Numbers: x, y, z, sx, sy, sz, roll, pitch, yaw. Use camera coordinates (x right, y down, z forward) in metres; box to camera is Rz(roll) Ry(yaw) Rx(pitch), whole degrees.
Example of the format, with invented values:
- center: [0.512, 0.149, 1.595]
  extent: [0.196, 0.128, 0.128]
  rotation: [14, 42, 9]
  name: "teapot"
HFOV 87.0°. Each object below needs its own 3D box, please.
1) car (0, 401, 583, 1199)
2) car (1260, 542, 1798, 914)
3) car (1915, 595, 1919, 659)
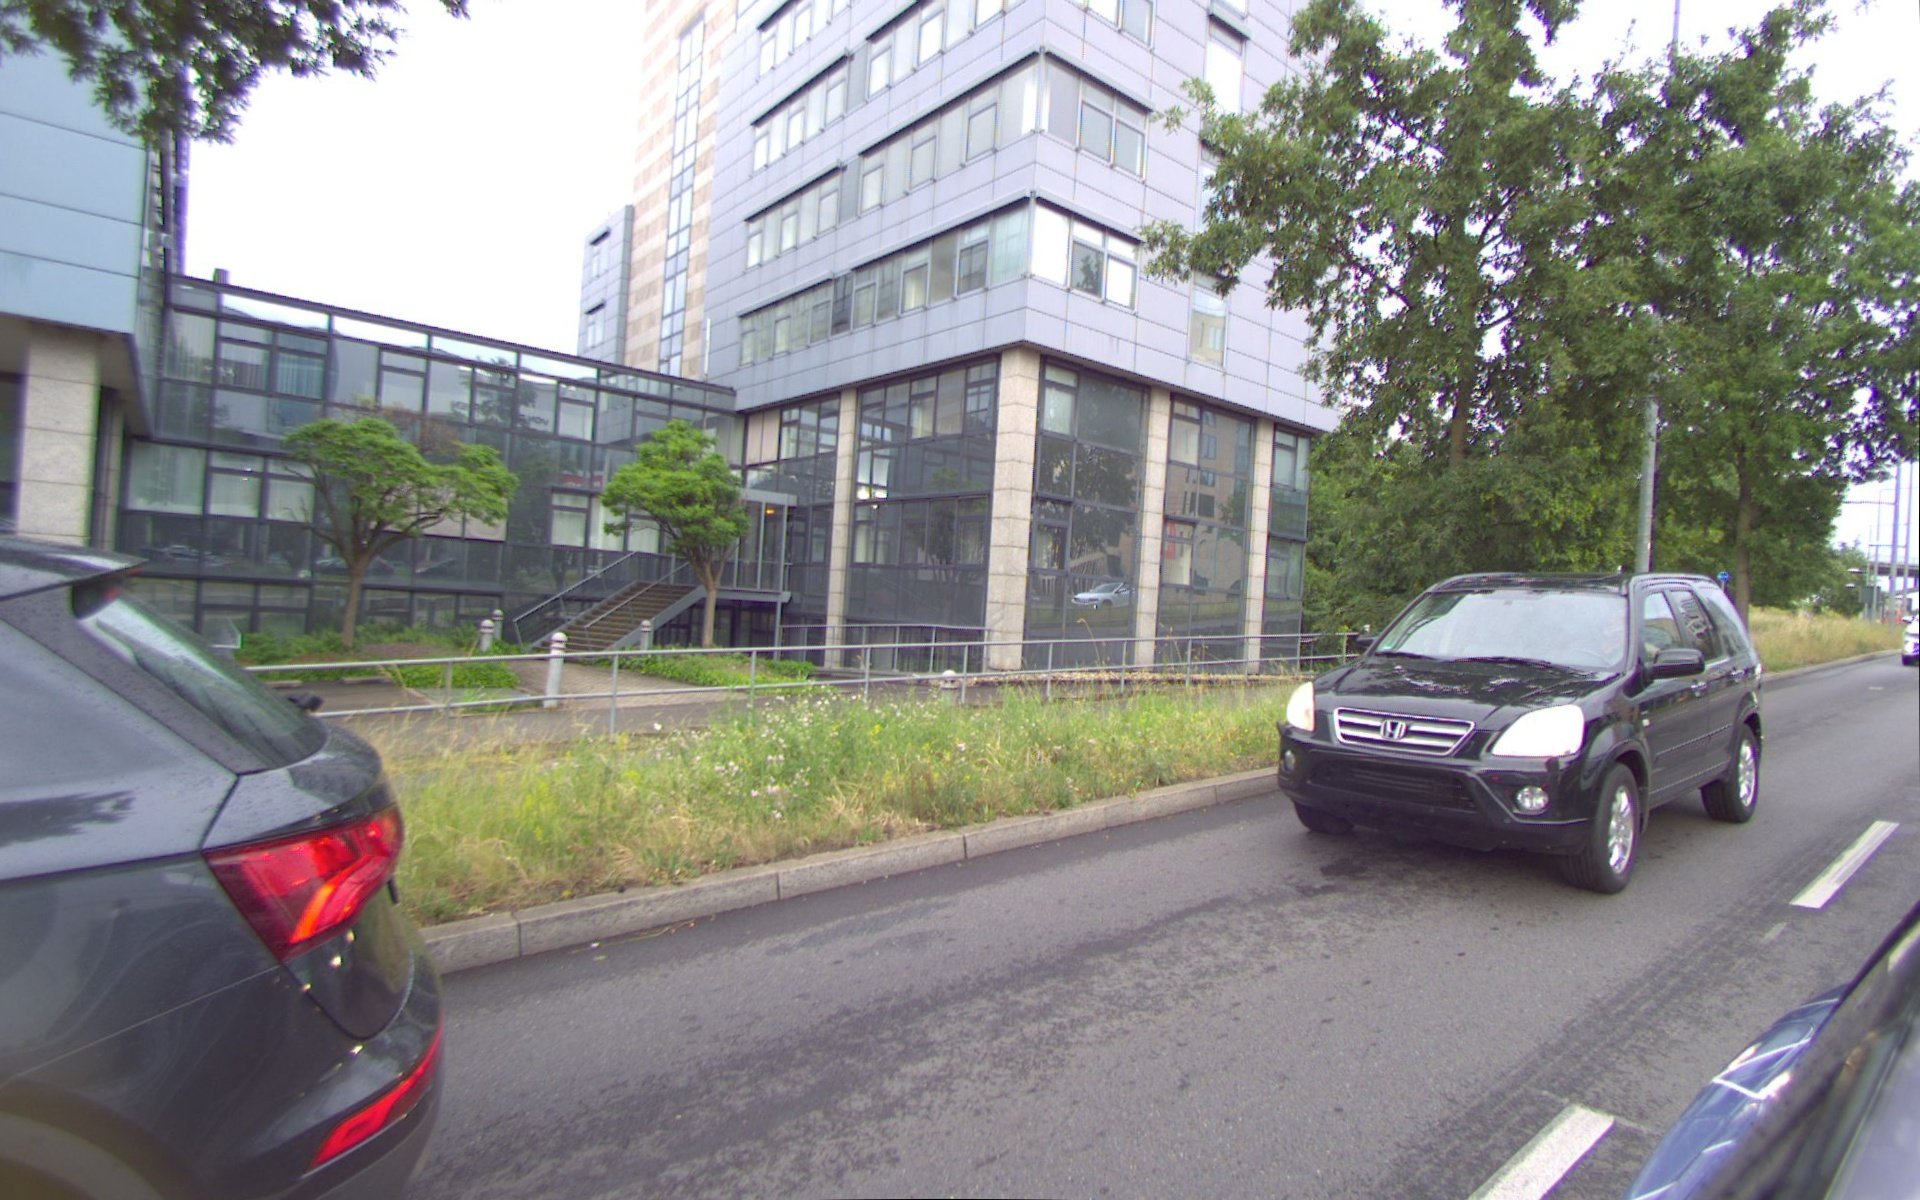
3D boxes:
- center: [-2.908, 0.545, 1.012]
  extent: [4.392, 1.633, 1.821]
  rotation: [0, 1, -41]
  name: "car"
- center: [3.930, 0.558, 6.643]
  extent: [4.262, 1.679, 1.757]
  rotation: [0, 1, -41]
  name: "car"
- center: [24.737, 0.660, 24.641]
  extent: [3.701, 1.522, 1.826]
  rotation: [0, 1, -41]
  name: "car"
